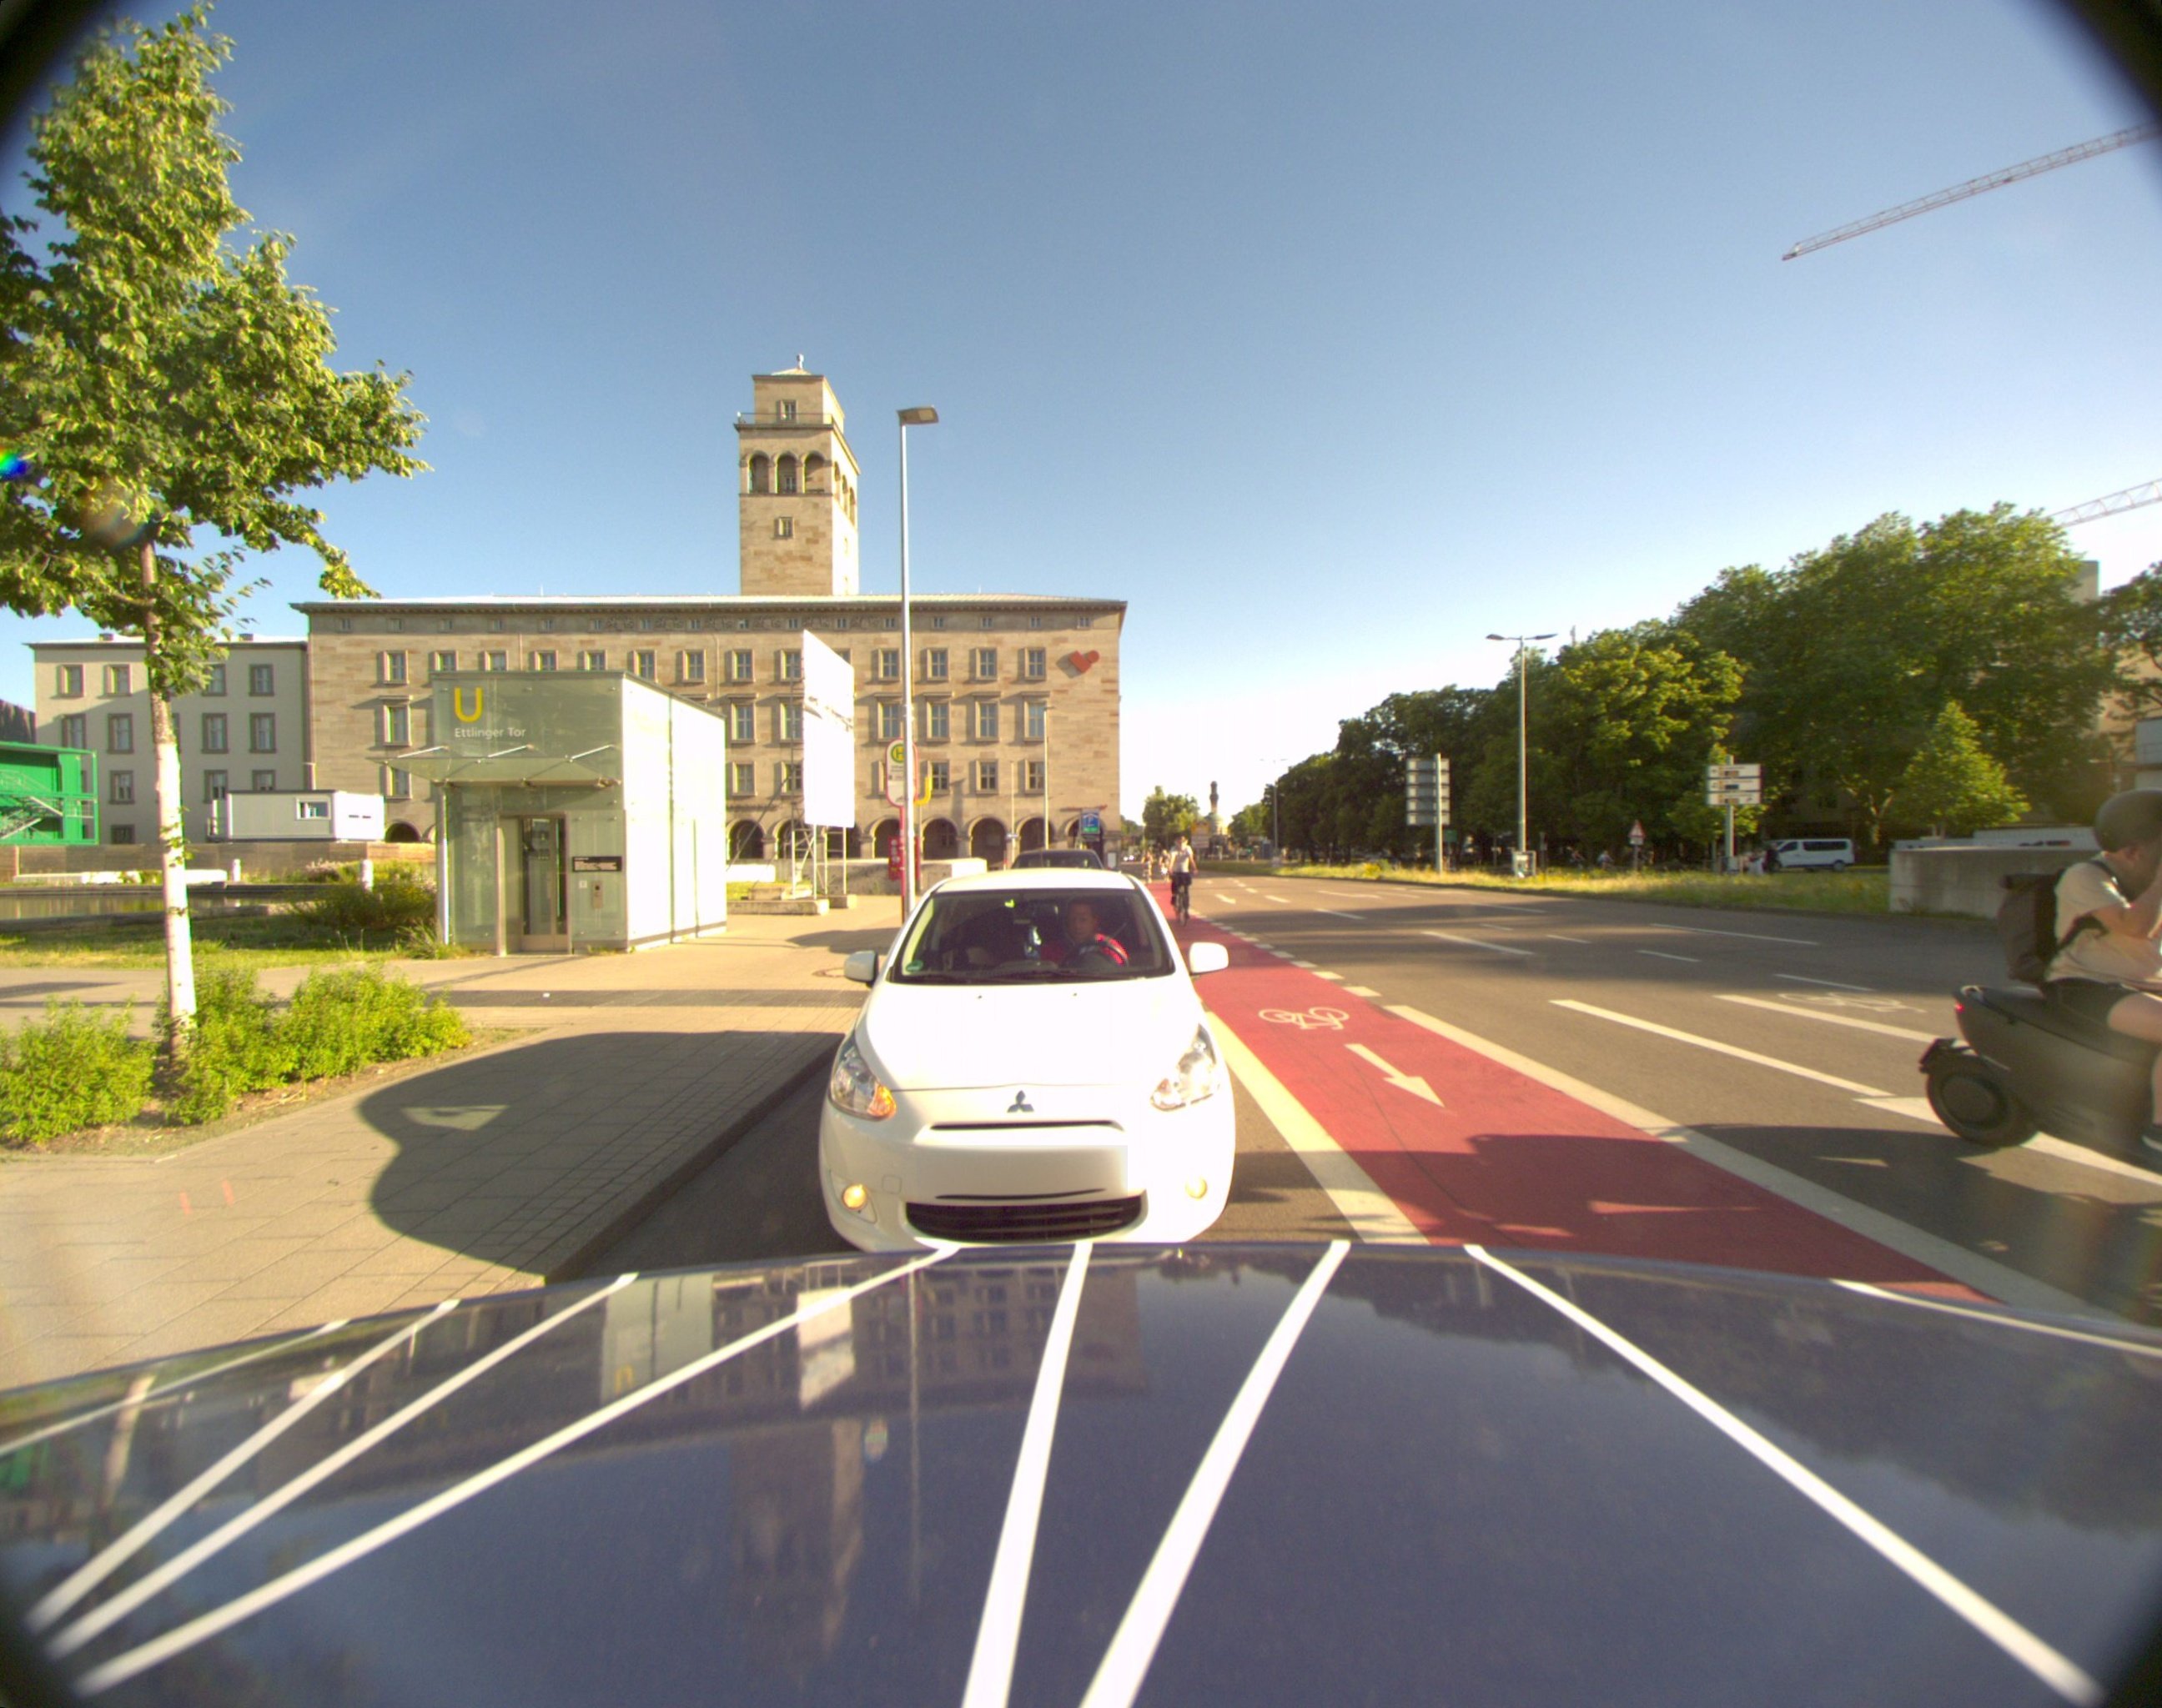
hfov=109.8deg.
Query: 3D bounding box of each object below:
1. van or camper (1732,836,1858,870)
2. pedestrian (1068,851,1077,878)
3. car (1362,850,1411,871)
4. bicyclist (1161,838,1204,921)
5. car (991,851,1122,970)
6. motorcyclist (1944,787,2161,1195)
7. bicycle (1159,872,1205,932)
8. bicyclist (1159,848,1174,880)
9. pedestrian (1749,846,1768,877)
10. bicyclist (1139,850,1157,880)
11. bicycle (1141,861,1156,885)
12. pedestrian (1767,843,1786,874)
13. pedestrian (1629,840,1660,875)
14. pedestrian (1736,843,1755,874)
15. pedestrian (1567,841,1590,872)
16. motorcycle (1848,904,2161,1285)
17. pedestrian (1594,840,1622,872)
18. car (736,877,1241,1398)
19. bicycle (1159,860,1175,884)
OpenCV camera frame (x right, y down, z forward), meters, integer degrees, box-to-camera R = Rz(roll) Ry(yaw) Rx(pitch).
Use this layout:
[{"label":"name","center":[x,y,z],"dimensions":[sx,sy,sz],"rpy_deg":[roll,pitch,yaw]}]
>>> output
[{"label":"van or camper","center":[42.243,-0.046,45.063],"dimensions":[5.499,1.934,1.951],"rpy_deg":[-1,0,4]},{"label":"pedestrian","center":[-0.551,0.655,48.421],"dimensions":[0.552,1.692,0.553],"rpy_deg":[-1,1,-1]},{"label":"car","center":[21.778,0.440,54.314],"dimensions":[1.881,1.472,3.980],"rpy_deg":[-1,0,1]},{"label":"bicyclist","center":[2.140,0.527,16.100],"dimensions":[0.807,1.690,0.852],"rpy_deg":[-1,1,1]},{"label":"car","center":[-0.325,0.796,12.752],"dimensions":[1.833,1.660,4.000],"rpy_deg":[-1,0,1]},{"label":"motorcyclist","center":[4.268,0.485,2.955],"dimensions":[0.823,1.455,0.877],"rpy_deg":[-1,1,1]},{"label":"bicycle","center":[2.109,0.983,16.104],"dimensions":[0.741,1.140,1.890],"rpy_deg":[-1,0,1]},{"label":"bicyclist","center":[4.448,0.494,39.502],"dimensions":[0.674,1.649,0.877],"rpy_deg":[-1,1,1]},{"label":"pedestrian","center":[33.272,0.376,37.335],"dimensions":[0.499,1.502,0.494],"rpy_deg":[-1,1,1]},{"label":"bicyclist","center":[3.535,0.561,40.121],"dimensions":[0.823,1.568,0.877],"rpy_deg":[-1,1,1]},{"label":"bicycle","center":[3.548,0.995,40.199],"dimensions":[0.689,1.185,1.506],"rpy_deg":[-1,1,1]},{"label":"pedestrian","center":[34.162,0.239,37.317],"dimensions":[0.499,1.502,0.494],"rpy_deg":[-1,1,1]},{"label":"pedestrian","center":[32.923,0.209,44.391],"dimensions":[1.126,1.952,0.815],"rpy_deg":[-2,1,1]},{"label":"pedestrian","center":[32.425,0.198,37.077],"dimensions":[0.499,1.502,0.494],"rpy_deg":[-1,1,1]},{"label":"pedestrian","center":[33.289,0.172,50.848],"dimensions":[0.841,2.002,0.955],"rpy_deg":[-3,1,-25]},{"label":"motorcycle","center":[4.274,0.899,2.860],"dimensions":[0.828,1.273,1.944],"rpy_deg":[-1,0,1]},{"label":"pedestrian","center":[32.868,0.139,47.389],"dimensions":[0.951,1.952,1.058],"rpy_deg":[-2,1,-14]},{"label":"car","center":[-0.253,0.927,4.312],"dimensions":[1.519,1.447,4.000],"rpy_deg":[-1,0,1]},{"label":"bicycle","center":[4.447,0.944,39.493],"dimensions":[0.689,1.185,1.506],"rpy_deg":[-1,1,1]}]
